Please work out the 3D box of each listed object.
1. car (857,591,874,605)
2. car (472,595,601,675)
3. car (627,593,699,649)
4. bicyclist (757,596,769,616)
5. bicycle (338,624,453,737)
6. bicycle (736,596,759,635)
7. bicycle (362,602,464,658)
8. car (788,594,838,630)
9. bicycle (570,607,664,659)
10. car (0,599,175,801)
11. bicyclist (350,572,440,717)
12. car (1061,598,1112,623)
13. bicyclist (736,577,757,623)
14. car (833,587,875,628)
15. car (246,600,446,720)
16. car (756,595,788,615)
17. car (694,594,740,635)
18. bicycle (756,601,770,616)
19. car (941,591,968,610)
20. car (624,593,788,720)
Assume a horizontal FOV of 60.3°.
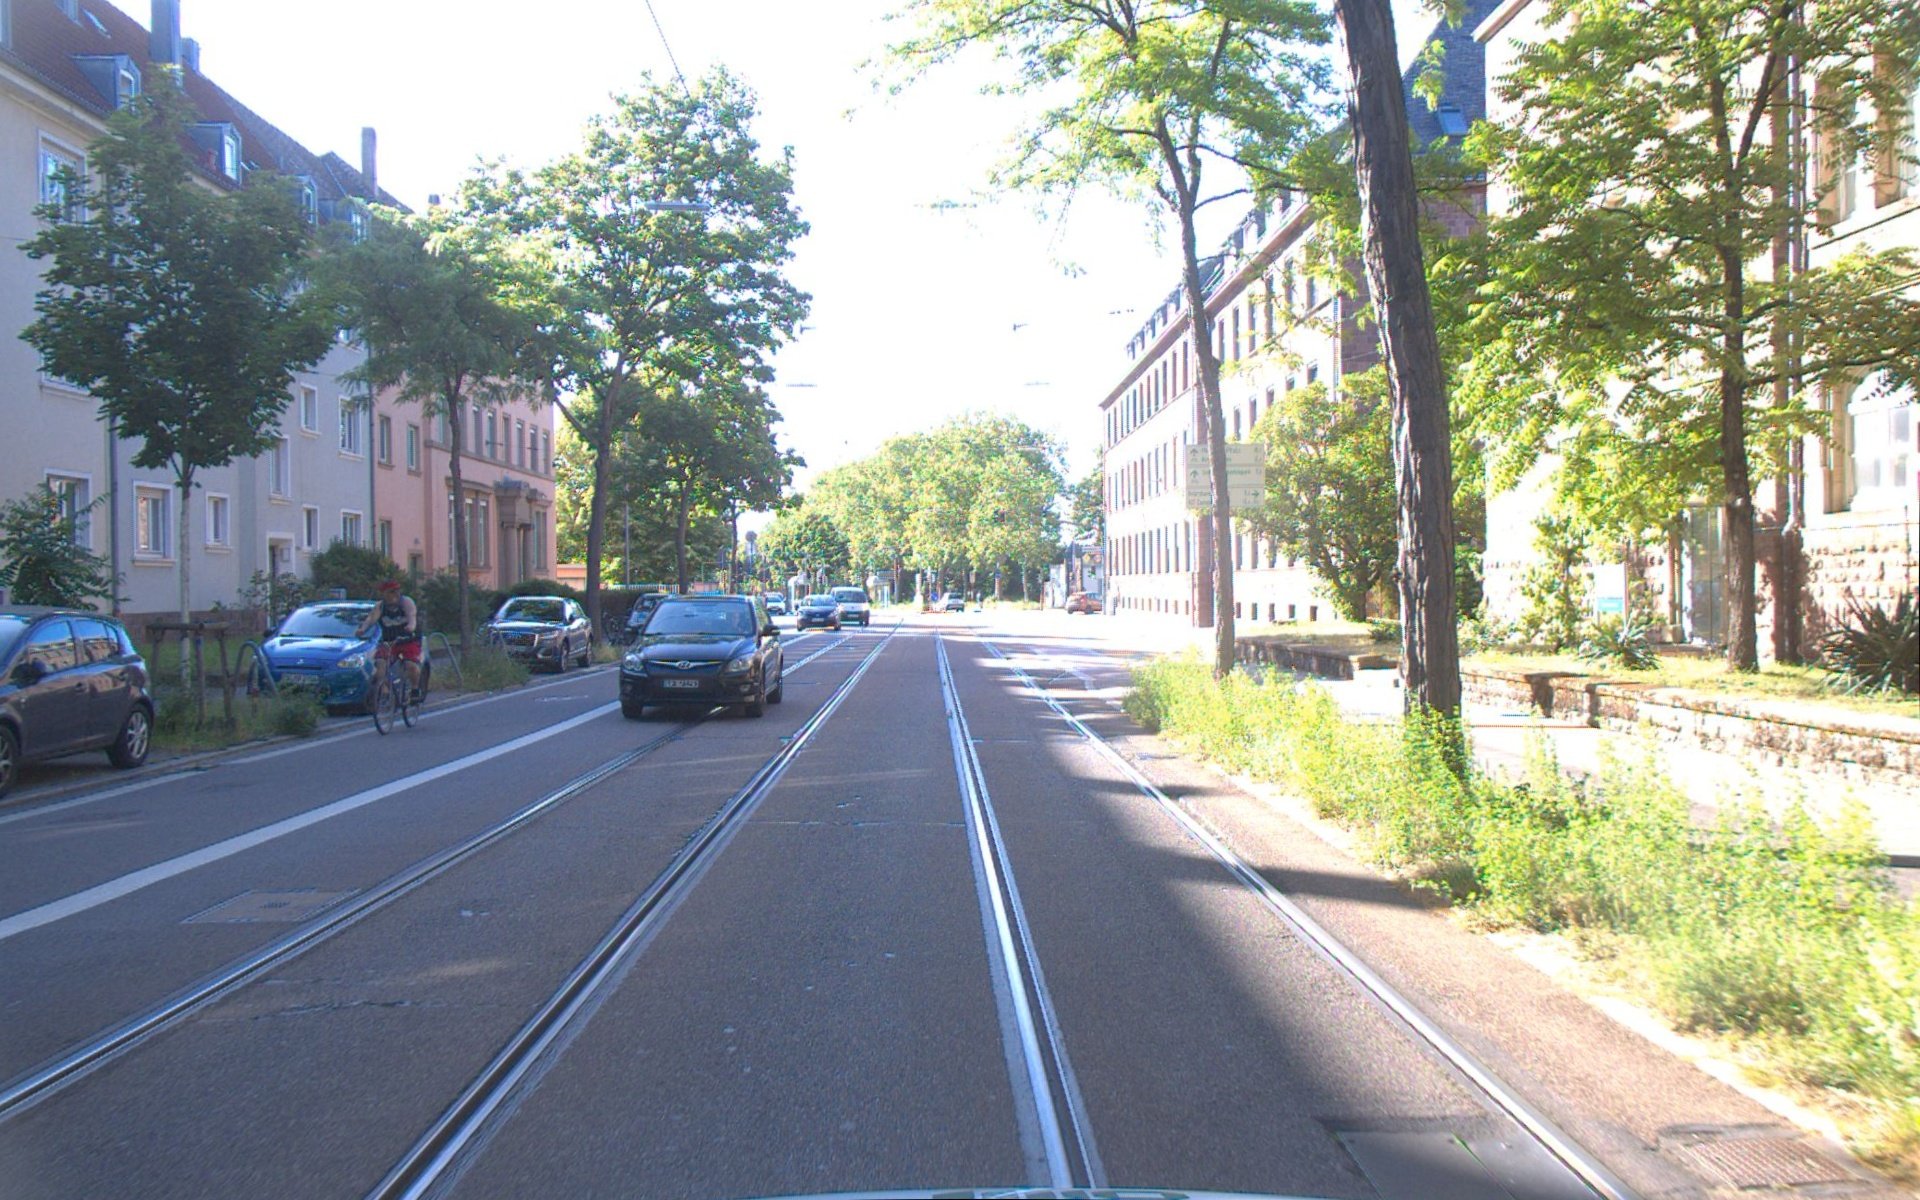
[{"bbox_3d":[-11.631,-0.240,203.519,1.905,1.638,3.994,0,0,-7],"label":"car"},{"bbox_3d":[-8.858,0.691,34.934,1.710,1.516,4.322,2,0,-2],"label":"car"},{"bbox_3d":[-9.174,0.610,51.385,1.711,1.597,4.066,2,0,-4],"label":"car"},{"bbox_3d":[-14.918,0.444,125.031,0.737,1.530,0.960,0,0,-16],"label":"bicyclist"},{"bbox_3d":[-6.647,0.921,19.567,0.680,1.198,1.912,-3,0,-1],"label":"bicycle"},{"bbox_3d":[-7.131,0.504,55.609,0.547,1.219,2.290,-4,0,-4],"label":"bicycle"},{"bbox_3d":[-13.053,0.708,39.458,2.236,1.219,0.560,2,1,5],"label":"bicycle"},{"bbox_3d":[-6.038,0.458,67.695,1.776,1.411,4.432,0,0,-8],"label":"car"},{"bbox_3d":[-8.691,0.833,41.986,2.236,1.219,0.560,2,1,5],"label":"bicycle"},{"bbox_3d":[-8.378,0.786,14.102,1.653,1.511,3.758,2,0,-2],"label":"car"},{"bbox_3d":[-6.662,0.516,19.530,0.695,1.635,0.865,-3,0,-1],"label":"bicyclist"},{"bbox_3d":[8.766,0.718,114.227,1.811,1.684,3.561,0,0,40],"label":"car"},{"bbox_3d":[-7.168,-0.005,55.613,0.547,1.482,0.869,-4,0,-4],"label":"bicyclist"},{"bbox_3d":[-5.113,0.328,80.179,1.773,1.921,4.439,0,0,-1],"label":"car"},{"bbox_3d":[-8.604,0.782,23.499,1.529,1.482,3.928,2,0,-3],"label":"car"},{"bbox_3d":[-14.728,0.403,129.172,1.960,1.531,3.985,0,0,-14],"label":"car"},{"bbox_3d":[-9.528,0.561,65.070,1.551,1.514,3.608,2,0,-6],"label":"car"},{"bbox_3d":[-14.931,0.652,125.098,0.737,1.106,2.167,0,0,-16],"label":"bicycle"},{"bbox_3d":[-0.518,0.034,143.475,1.905,1.638,3.994,0,0,-6],"label":"car"},{"bbox_3d":[-3.207,0.655,21.570,1.665,1.497,4.069,0,0,-2],"label":"car"}]
